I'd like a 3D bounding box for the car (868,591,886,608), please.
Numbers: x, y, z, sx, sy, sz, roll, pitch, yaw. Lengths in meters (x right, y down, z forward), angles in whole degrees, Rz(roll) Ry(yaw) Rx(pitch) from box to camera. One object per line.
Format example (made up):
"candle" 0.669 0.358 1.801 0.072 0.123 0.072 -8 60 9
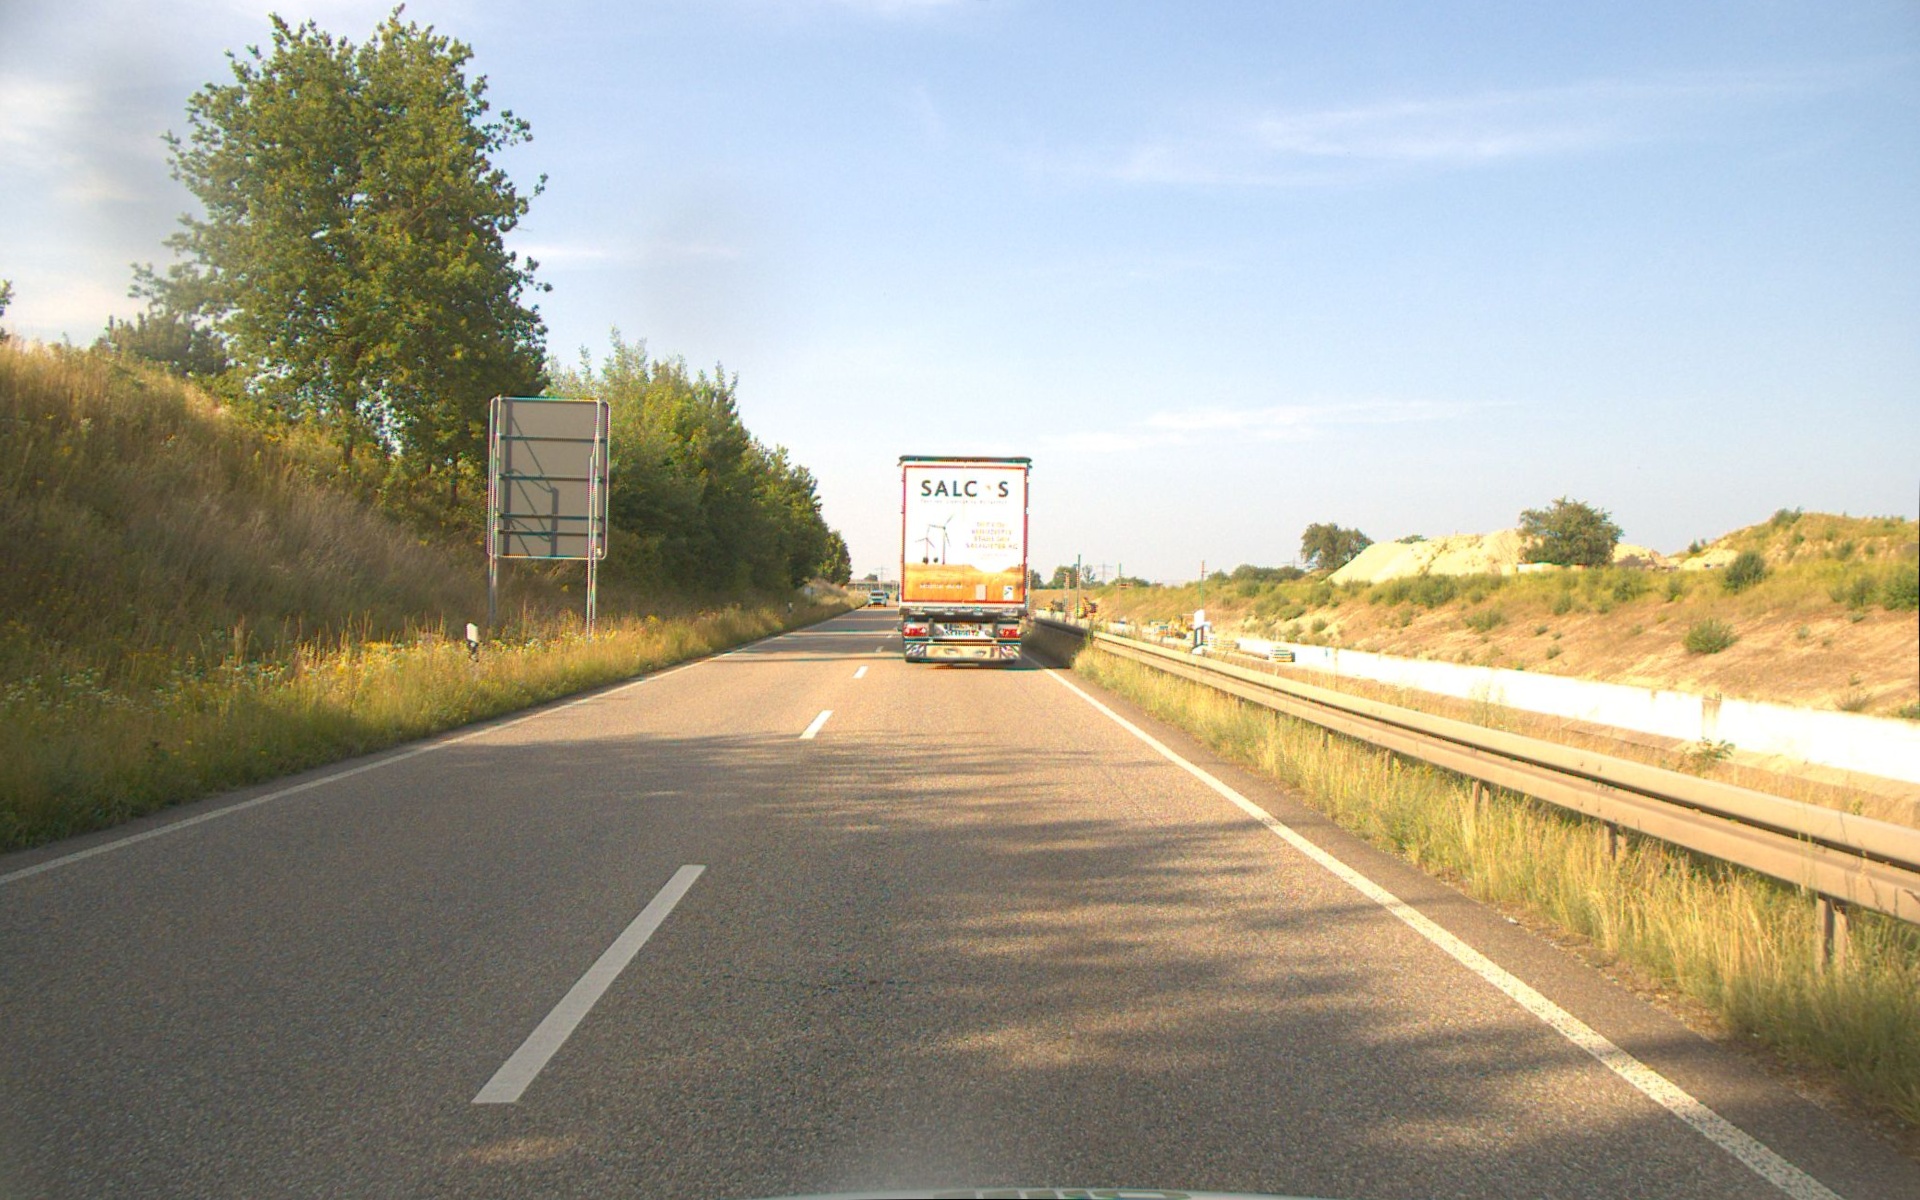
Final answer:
"car" -8.200 -0.025 162.763 1.710 1.591 4.363 1 0 -3

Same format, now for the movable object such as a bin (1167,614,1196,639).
"movable object such as a bin" 24.791 2.976 185.000 2.845 2.708 2.019 1 0 23

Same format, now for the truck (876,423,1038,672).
"truck" -0.187 -1.025 36.061 3.089 4.770 8.438 0 0 -2
